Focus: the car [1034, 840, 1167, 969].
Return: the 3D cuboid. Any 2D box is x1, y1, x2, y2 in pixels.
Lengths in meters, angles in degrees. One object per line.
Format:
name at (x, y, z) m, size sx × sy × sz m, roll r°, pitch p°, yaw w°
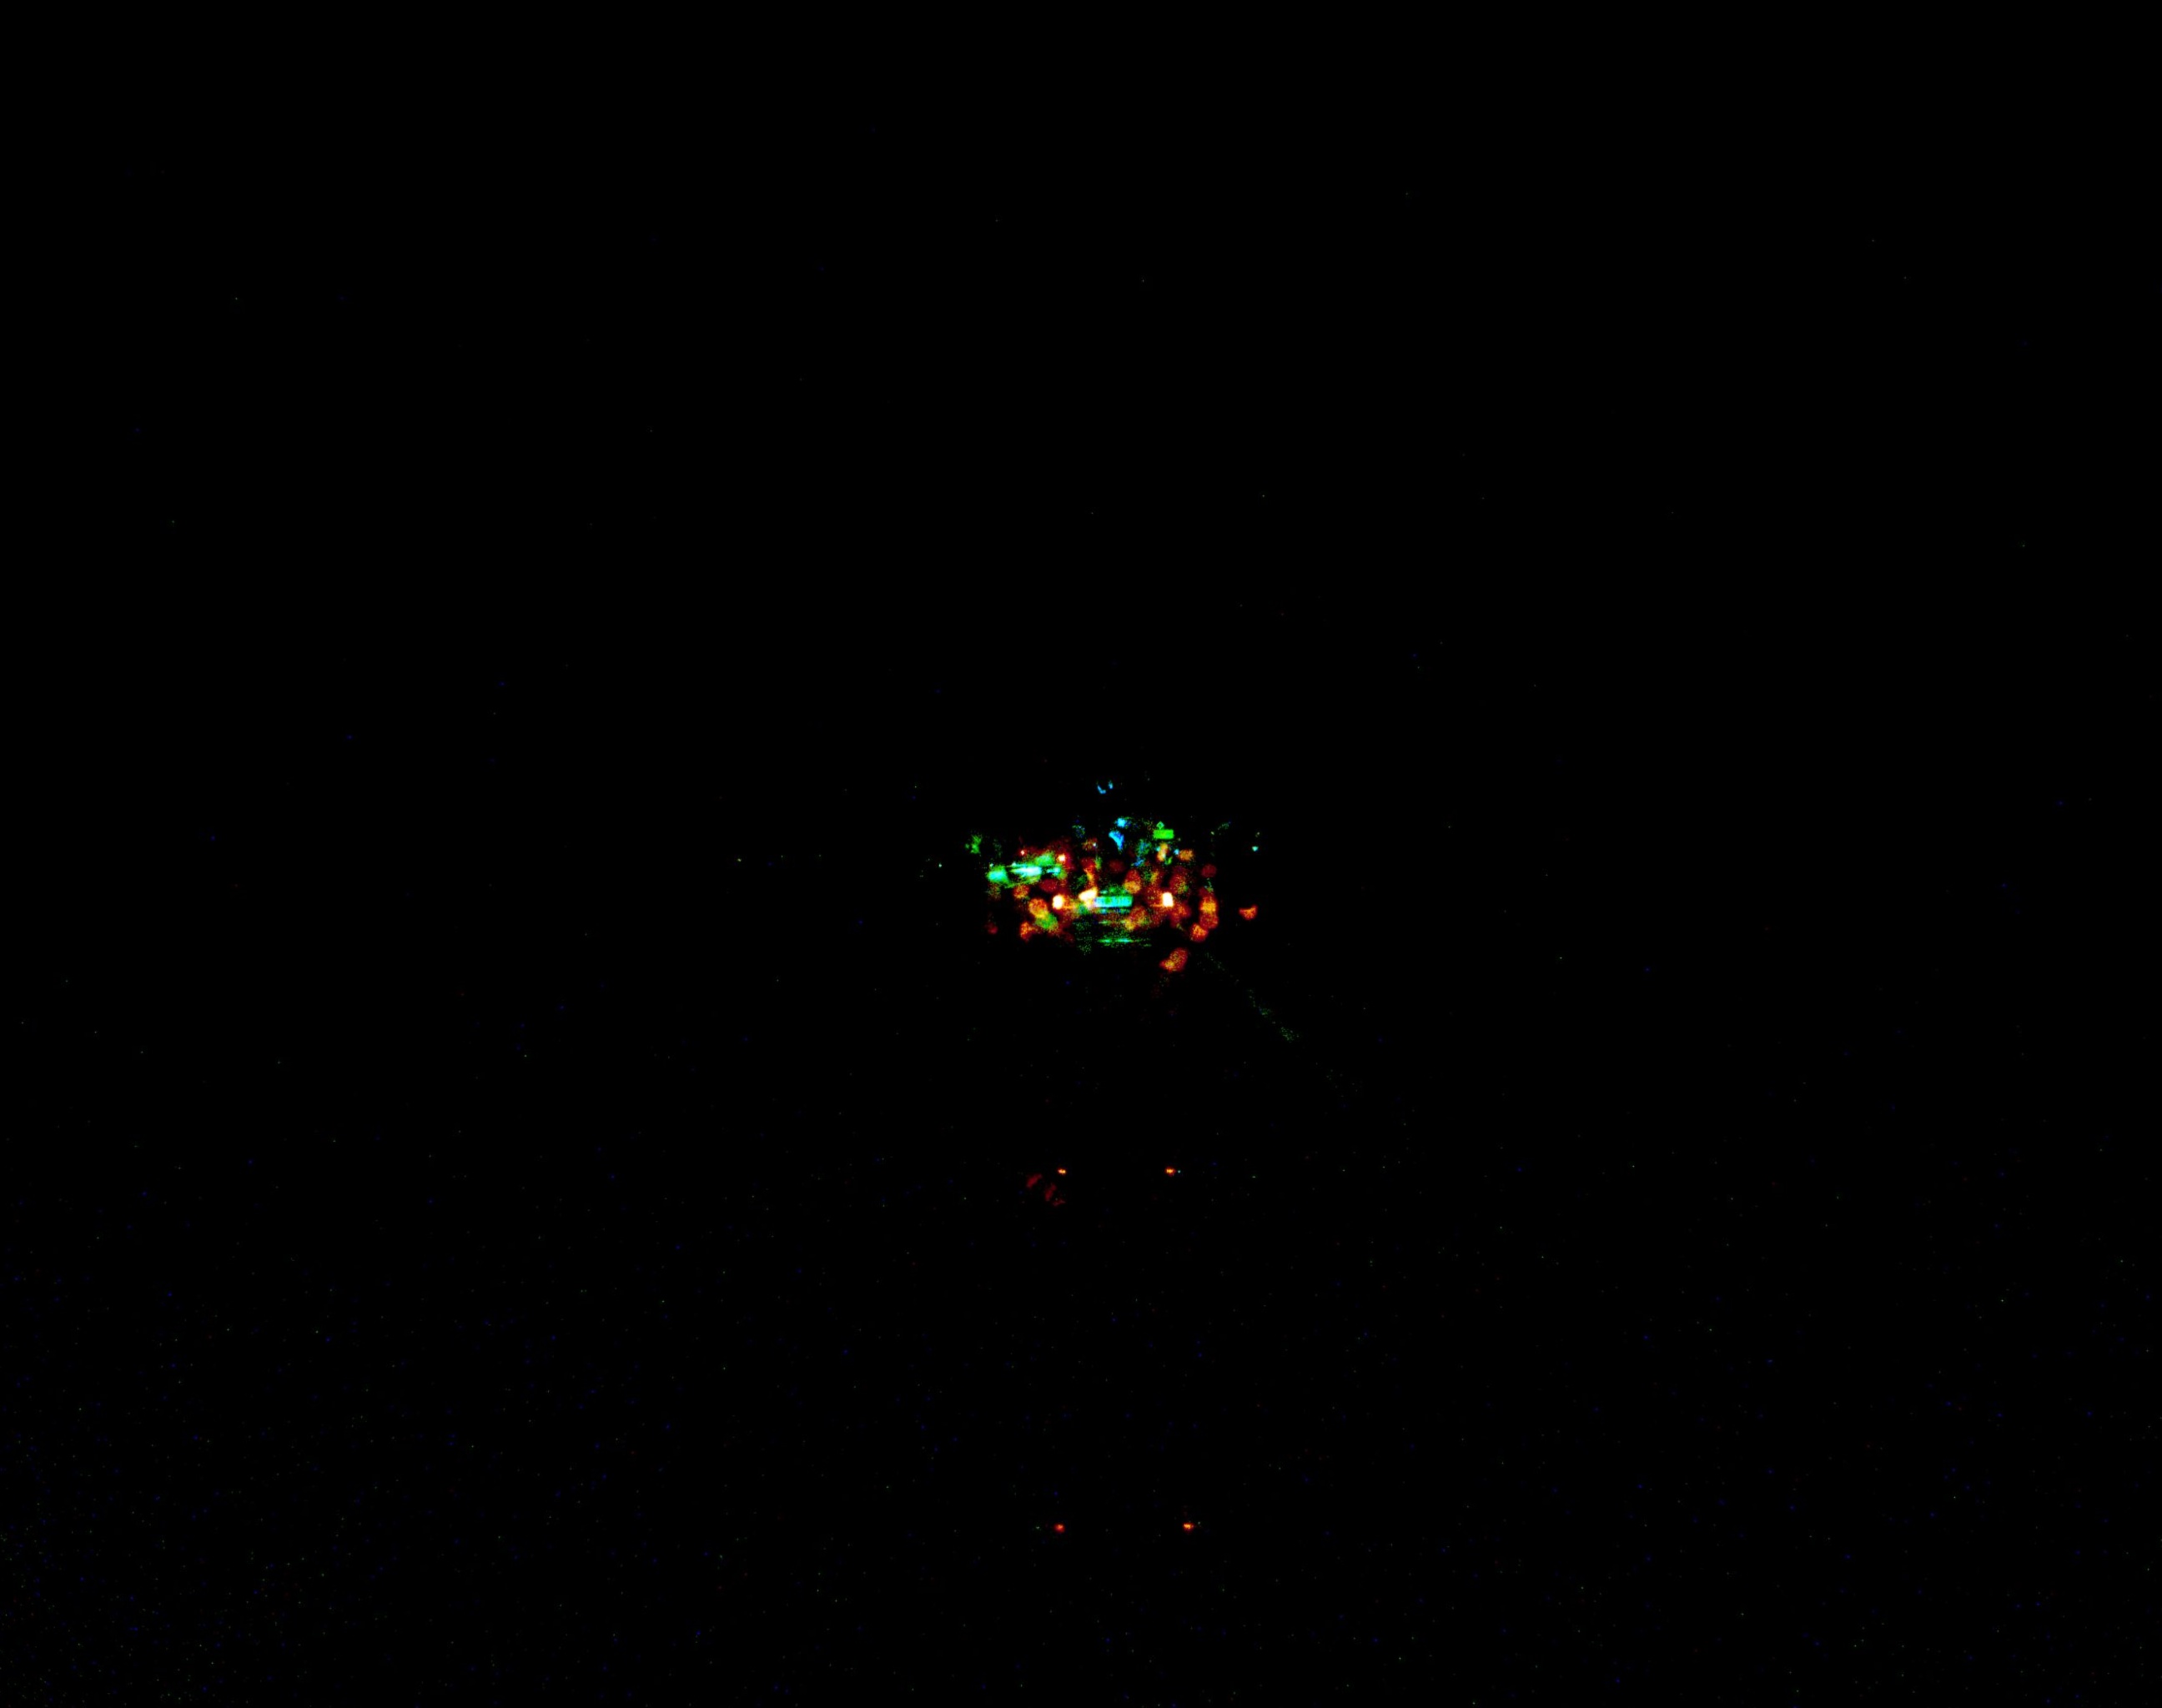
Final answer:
car at (0.346, 0.702, 12.914) m, size 1.768 × 1.712 × 4.002 m, roll -1°, pitch -1°, yaw 2°
